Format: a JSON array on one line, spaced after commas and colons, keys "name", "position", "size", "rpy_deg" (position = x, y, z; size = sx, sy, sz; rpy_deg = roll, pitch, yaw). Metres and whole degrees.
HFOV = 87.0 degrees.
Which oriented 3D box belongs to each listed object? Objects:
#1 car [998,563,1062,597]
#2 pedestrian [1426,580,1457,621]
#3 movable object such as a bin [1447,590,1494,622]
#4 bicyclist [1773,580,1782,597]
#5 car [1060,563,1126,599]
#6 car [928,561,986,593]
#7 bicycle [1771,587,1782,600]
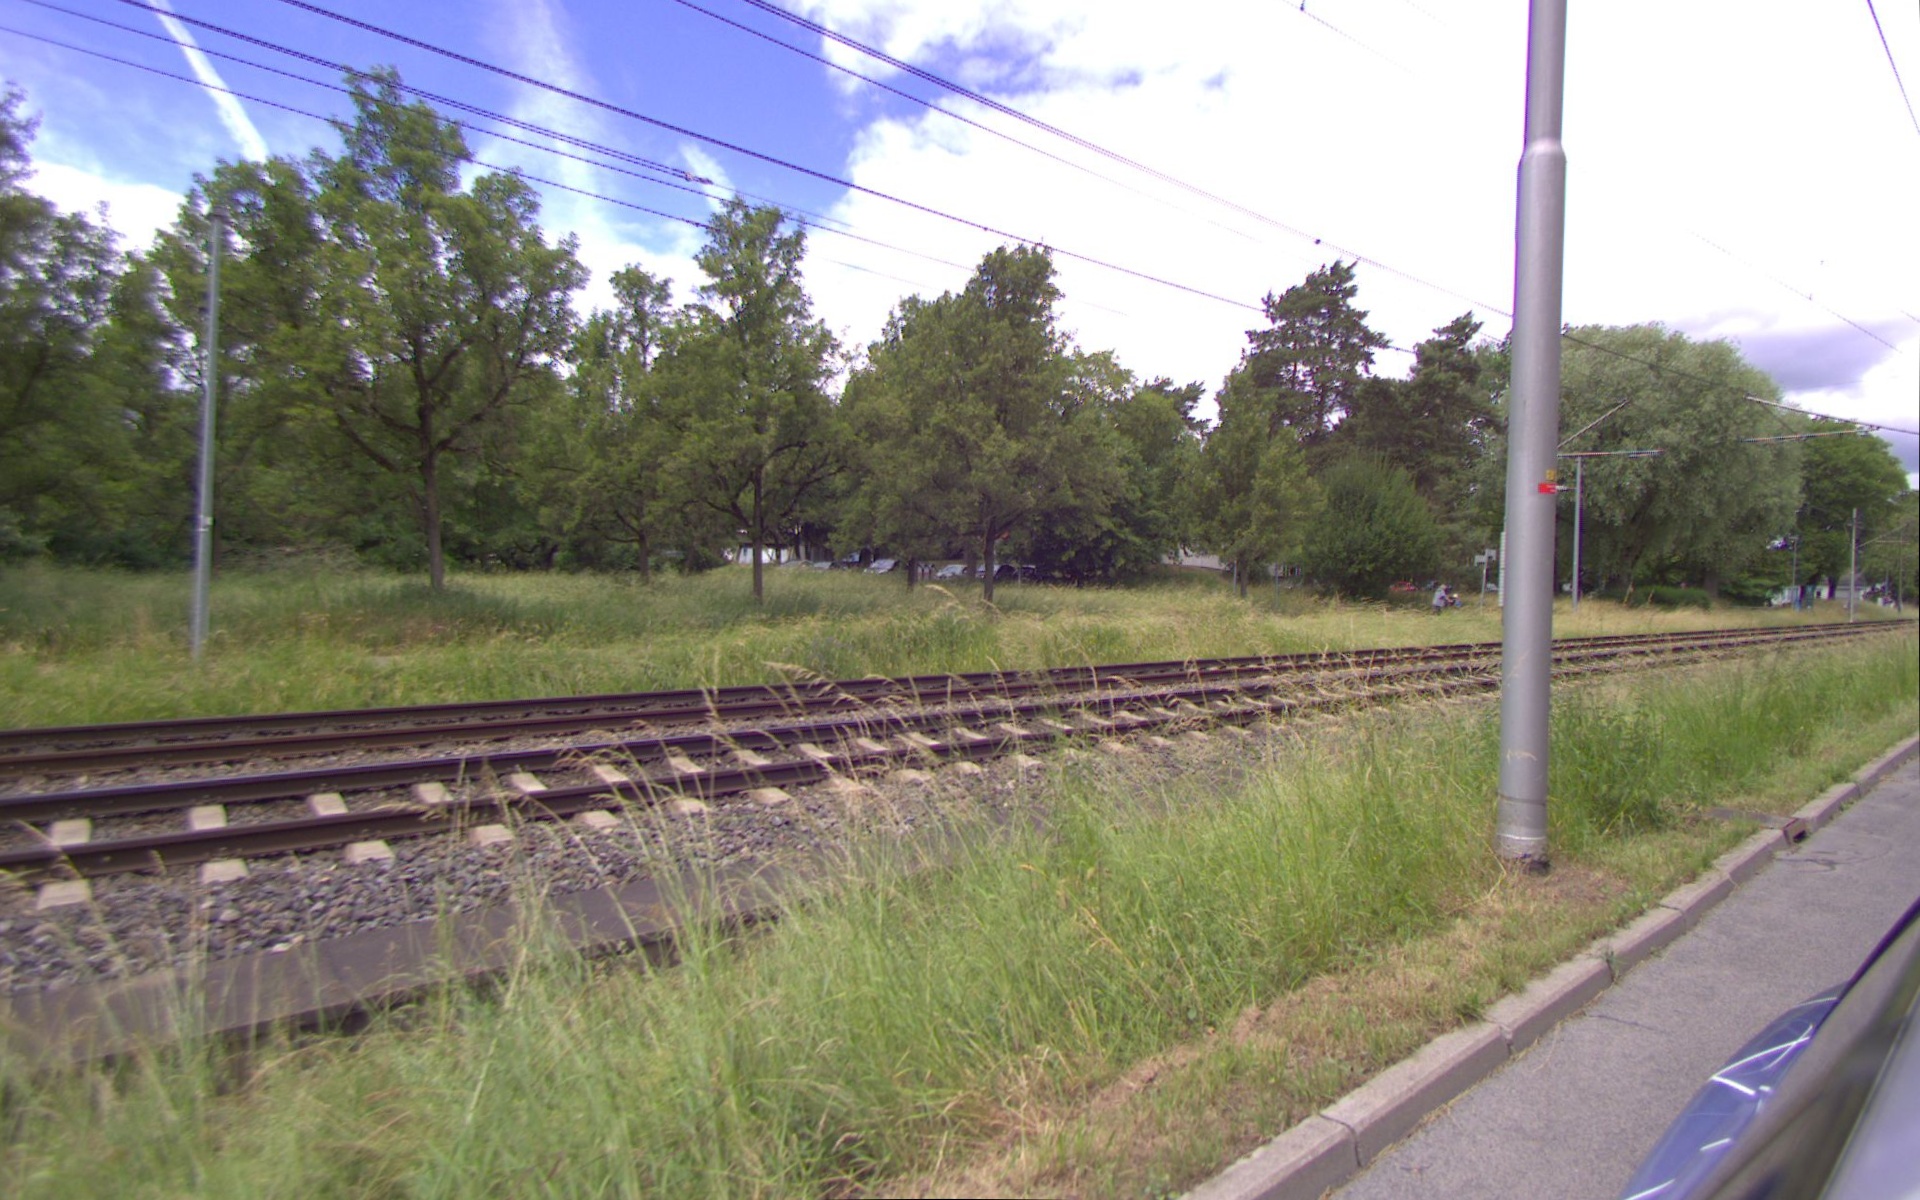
[{"name": "car", "position": [3.979, -1.127, 57.082], "size": [1.740, 1.826, 3.946], "rpy_deg": [2, 1, 37]}, {"name": "pedestrian", "position": [20.287, 0.025, 42.685], "size": [0.940, 1.687, 0.658], "rpy_deg": [1, 1, 1]}, {"name": "movable object such as a bin", "position": [21.502, 0.247, 42.630], "size": [1.612, 1.326, 0.660], "rpy_deg": [1, 1, 1]}, {"name": "bicyclist", "position": [79.745, -1.117, 98.728], "size": [0.920, 1.717, 0.581], "rpy_deg": [0, 1, -44]}, {"name": "car", "position": [7.053, -0.971, 53.554], "size": [1.740, 1.826, 3.946], "rpy_deg": [2, 1, 37]}, {"name": "car", "position": [-0.156, -1.348, 60.714], "size": [1.979, 1.835, 3.967], "rpy_deg": [2, 1, 24]}, {"name": "bicycle", "position": [79.543, -0.595, 98.543], "size": [1.897, 1.261, 0.581], "rpy_deg": [0, 1, -44]}]
